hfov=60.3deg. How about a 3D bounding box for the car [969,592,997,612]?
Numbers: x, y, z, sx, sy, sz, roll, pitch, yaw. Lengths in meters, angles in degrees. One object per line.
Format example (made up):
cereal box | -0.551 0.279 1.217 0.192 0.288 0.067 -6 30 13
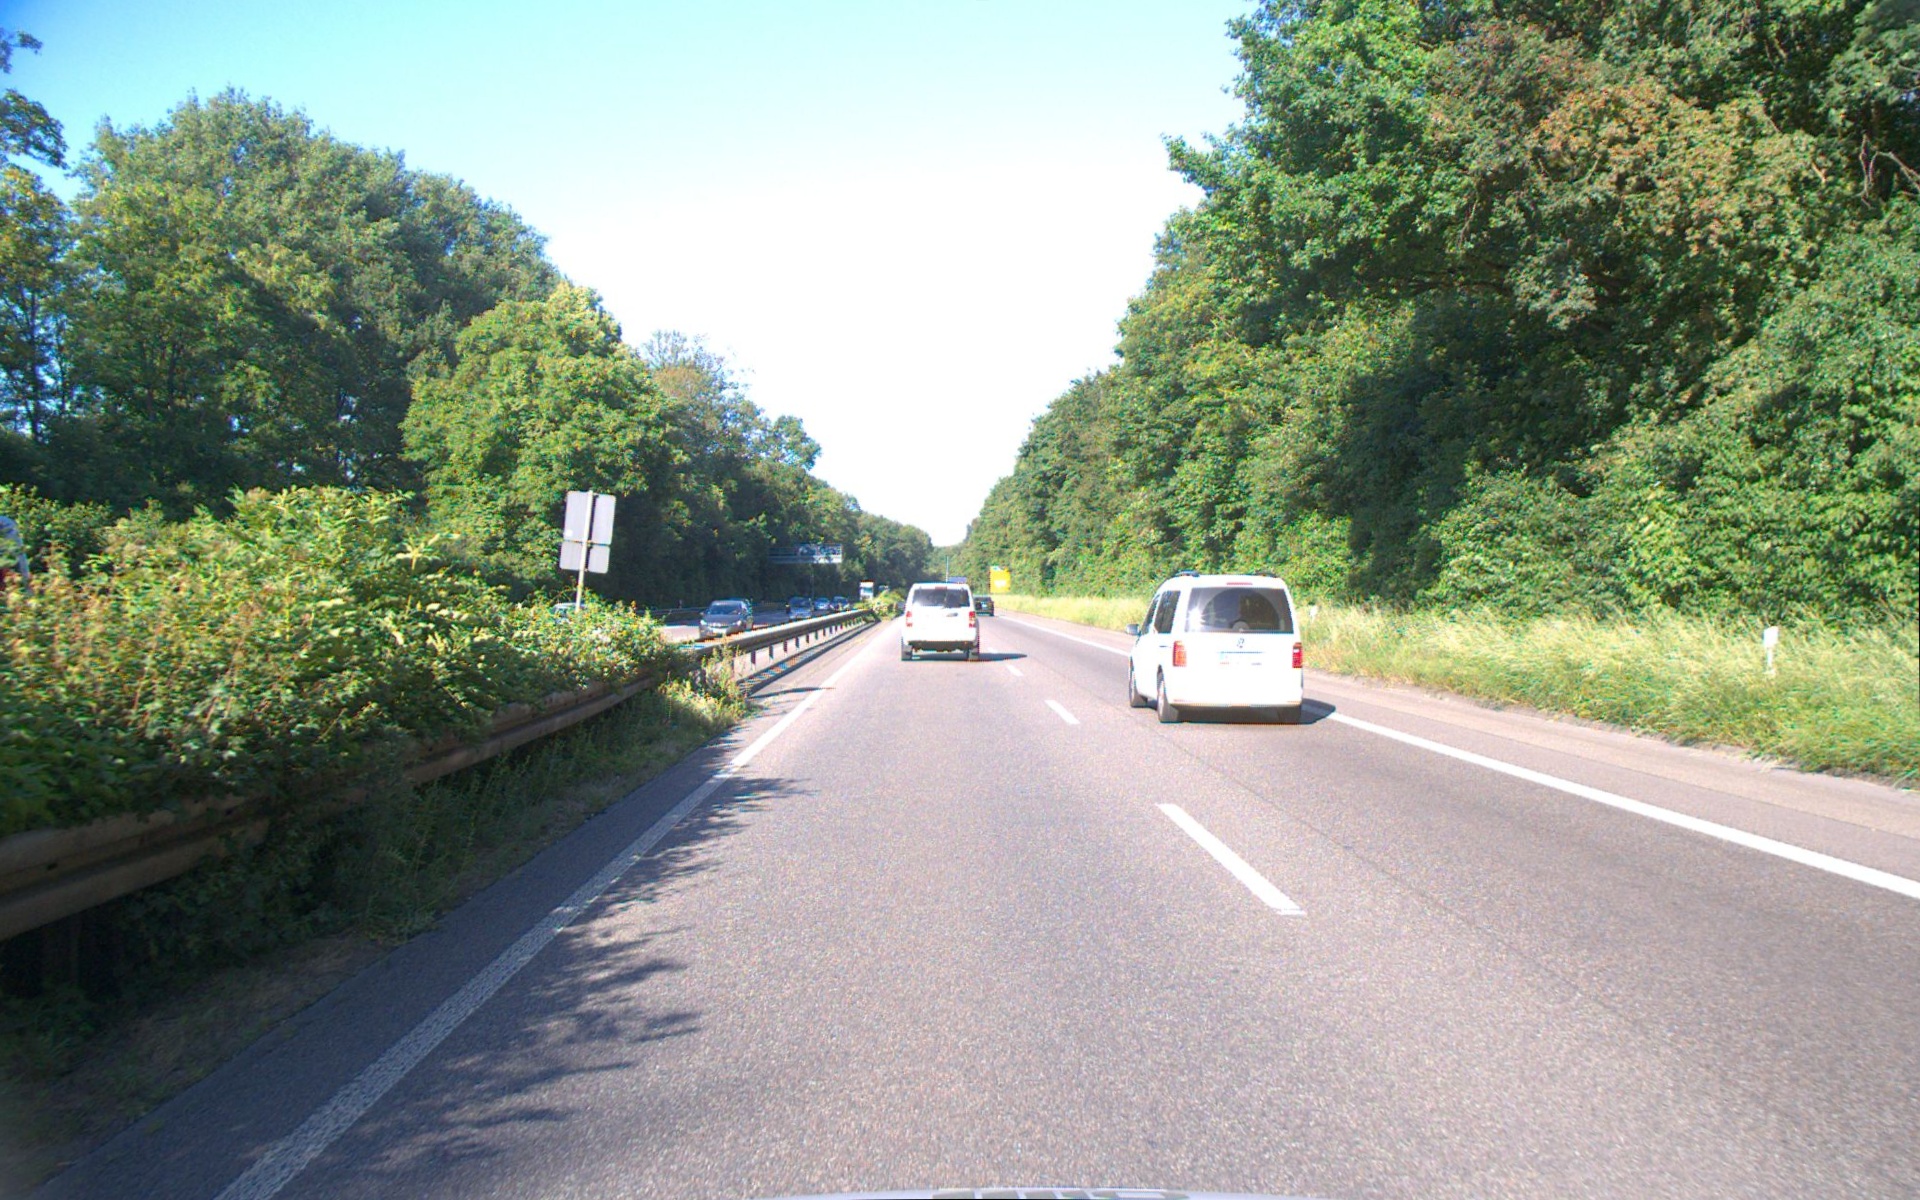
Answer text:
car | 1.681 0.125 123.357 1.953 1.422 3.999 1 0 -1

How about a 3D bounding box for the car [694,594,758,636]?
car | -9.062 0.557 64.281 1.921 1.567 4.463 1 0 -1

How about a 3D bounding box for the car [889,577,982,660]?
car | -0.637 0.407 39.145 2.044 1.860 3.998 0 0 -3

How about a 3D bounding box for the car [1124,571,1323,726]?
car | 3.308 0.552 21.620 1.825 1.801 4.469 1 0 -1

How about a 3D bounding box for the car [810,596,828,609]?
car | -15.380 0.236 180.498 1.683 1.380 4.227 -1 0 -2

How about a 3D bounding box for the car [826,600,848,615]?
car | -11.405 0.669 153.505 1.798 1.380 4.473 0 0 -2

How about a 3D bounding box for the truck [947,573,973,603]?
truck | -0.049 -1.680 238.351 3.425 4.245 8.859 -1 0 -1

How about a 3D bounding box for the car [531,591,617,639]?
car | -12.736 0.459 54.838 1.921 1.475 4.325 1 0 -1

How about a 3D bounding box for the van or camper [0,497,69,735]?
van or camper | -12.120 0.200 18.099 1.953 2.769 5.252 0 0 -1

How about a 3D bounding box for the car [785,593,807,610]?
car | -14.970 0.137 151.142 1.683 1.470 4.227 -1 0 -2

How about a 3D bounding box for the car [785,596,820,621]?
car | -9.893 0.519 104.259 1.839 1.567 4.463 0 0 -1
